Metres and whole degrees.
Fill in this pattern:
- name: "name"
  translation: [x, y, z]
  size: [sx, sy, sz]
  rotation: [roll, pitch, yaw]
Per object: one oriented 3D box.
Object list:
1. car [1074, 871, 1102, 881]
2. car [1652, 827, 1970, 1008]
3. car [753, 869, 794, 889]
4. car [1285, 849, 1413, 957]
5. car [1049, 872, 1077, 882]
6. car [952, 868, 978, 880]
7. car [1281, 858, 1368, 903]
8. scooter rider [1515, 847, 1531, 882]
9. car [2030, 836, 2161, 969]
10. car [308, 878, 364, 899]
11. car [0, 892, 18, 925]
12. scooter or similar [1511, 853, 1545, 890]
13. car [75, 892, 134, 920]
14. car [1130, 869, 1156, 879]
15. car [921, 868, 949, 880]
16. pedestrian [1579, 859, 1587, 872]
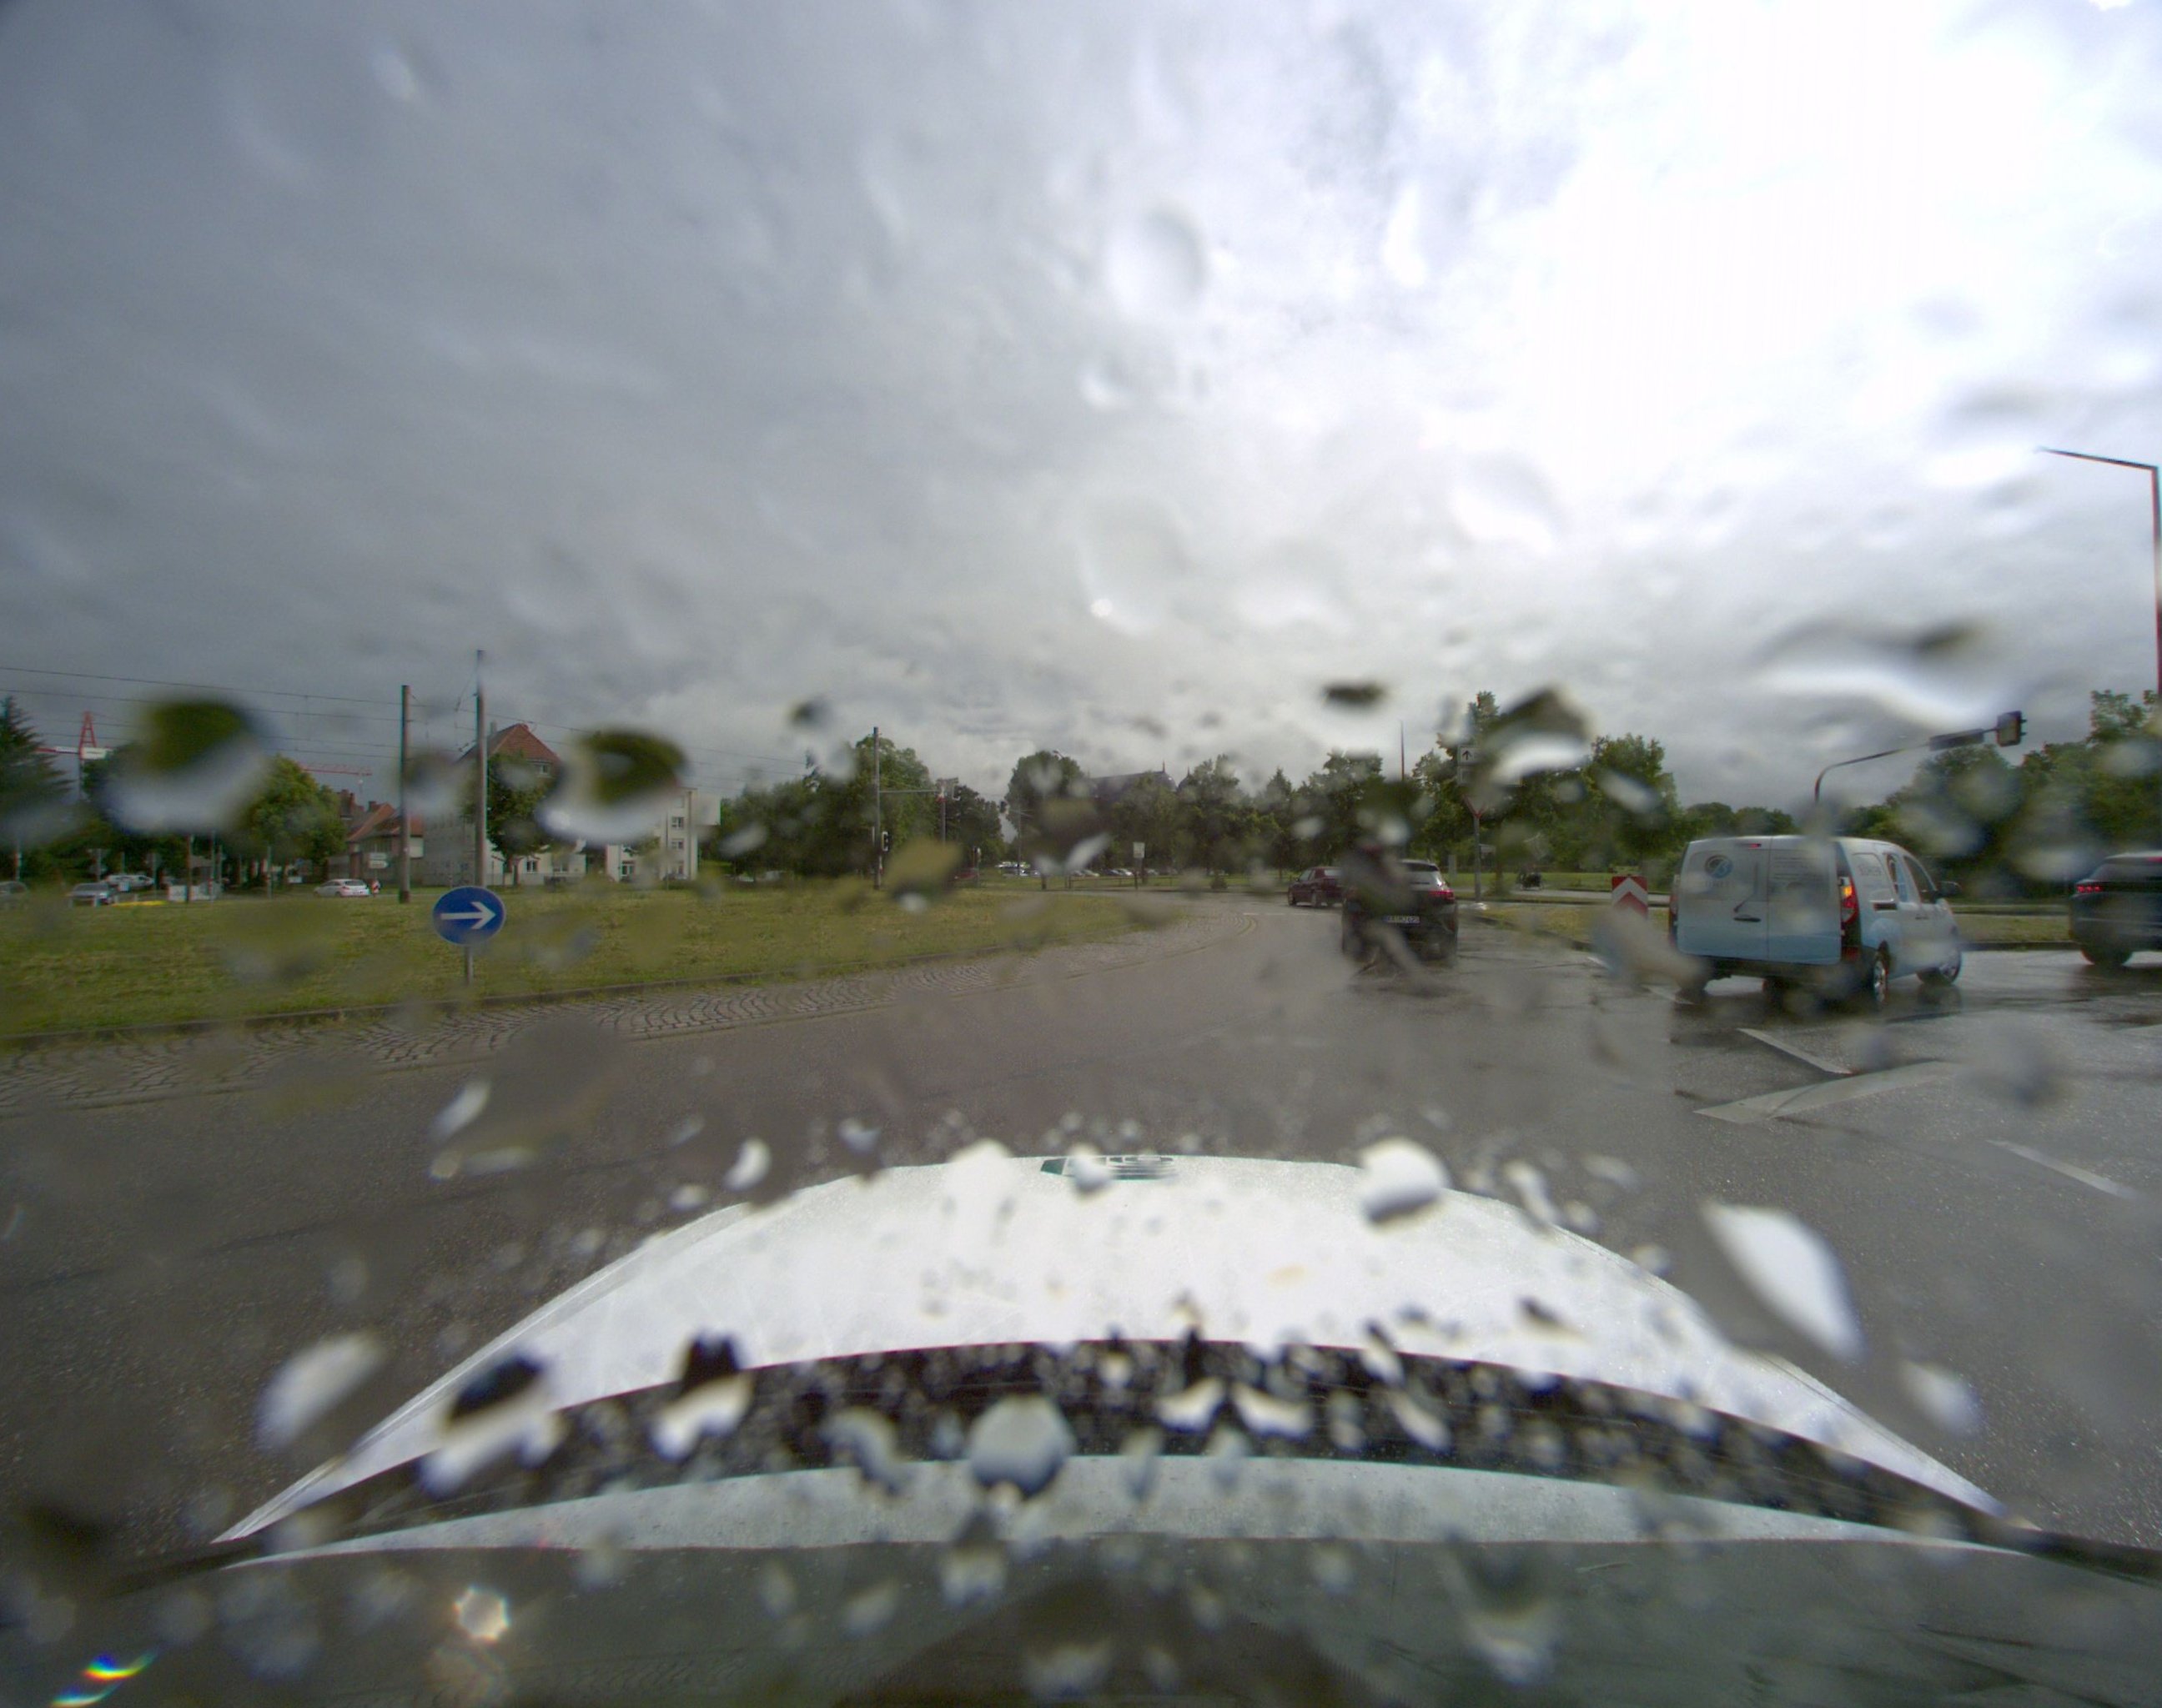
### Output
- name: "car"
  translation: [1.042, 3.417, 125.226]
  size: [3.928, 1.560, 1.862]
  rotation: [-2, -2, 40]
- name: "car"
  translation: [9.058, 0.630, 10.000]
  size: [4.569, 1.762, 1.848]
  rotation: [0, -1, -34]
- name: "car"
  translation: [-32.697, 2.634, 86.510]
  size: [5.096, 2.057, 2.126]
  rotation: [-1, 0, 44]
- name: "car"
  translation: [4.791, 0.768, 14.695]
  size: [1.882, 1.618, 4.018]
  rotation: [1, 0, 18]
- name: "car"
  translation: [-2.667, 3.428, 121.113]
  size: [3.928, 1.560, 1.862]
  rotation: [-2, -2, 40]
- name: "car"
  translation: [-15.122, 2.623, 106.072]
  size: [1.659, 1.510, 3.605]
  rotation: [0, -2, -44]
- name: "car"
  translation: [8.622, 0.886, 29.135]
  size: [1.711, 1.462, 3.995]
  rotation: [-1, 0, -3]
- name: "scooter rider"
  translation: [25.741, 0.597, 47.461]
  size: [0.698, 2.014, 0.774]
  rotation: [0, -3, 19]
- name: "car"
  translation: [16.348, 0.614, 11.495]
  size: [4.311, 1.757, 2.034]
  rotation: [-1, 0, -12]
- name: "car"
  translation: [-53.554, 2.448, 58.567]
  size: [3.459, 1.454, 1.558]
  rotation: [-1, 0, 20]
- name: "car"
  translation: [-53.844, 2.696, 39.606]
  size: [1.556, 1.561, 3.463]
  rotation: [1, -1, -34]
- name: "scooter or similar"
  translation: [25.492, 1.039, 46.527]
  size: [1.225, 2.014, 3.426]
  rotation: [0, -2, 21]
- name: "car"
  translation: [-62.524, 3.297, 52.210]
  size: [1.607, 1.561, 3.511]
  rotation: [0, -1, -36]
- name: "car"
  translation: [10.427, 3.405, 136.245]
  size: [3.928, 1.560, 1.862]
  rotation: [-2, -2, 40]
- name: "car"
  translation: [-18.313, 2.561, 102.100]
  size: [3.565, 1.462, 1.655]
  rotation: [-2, -2, 43]
- name: "pedestrian"
  translation: [66.361, 1.562, 107.685]
  size: [0.606, 1.732, 0.595]
  rotation: [2, -3, -23]
